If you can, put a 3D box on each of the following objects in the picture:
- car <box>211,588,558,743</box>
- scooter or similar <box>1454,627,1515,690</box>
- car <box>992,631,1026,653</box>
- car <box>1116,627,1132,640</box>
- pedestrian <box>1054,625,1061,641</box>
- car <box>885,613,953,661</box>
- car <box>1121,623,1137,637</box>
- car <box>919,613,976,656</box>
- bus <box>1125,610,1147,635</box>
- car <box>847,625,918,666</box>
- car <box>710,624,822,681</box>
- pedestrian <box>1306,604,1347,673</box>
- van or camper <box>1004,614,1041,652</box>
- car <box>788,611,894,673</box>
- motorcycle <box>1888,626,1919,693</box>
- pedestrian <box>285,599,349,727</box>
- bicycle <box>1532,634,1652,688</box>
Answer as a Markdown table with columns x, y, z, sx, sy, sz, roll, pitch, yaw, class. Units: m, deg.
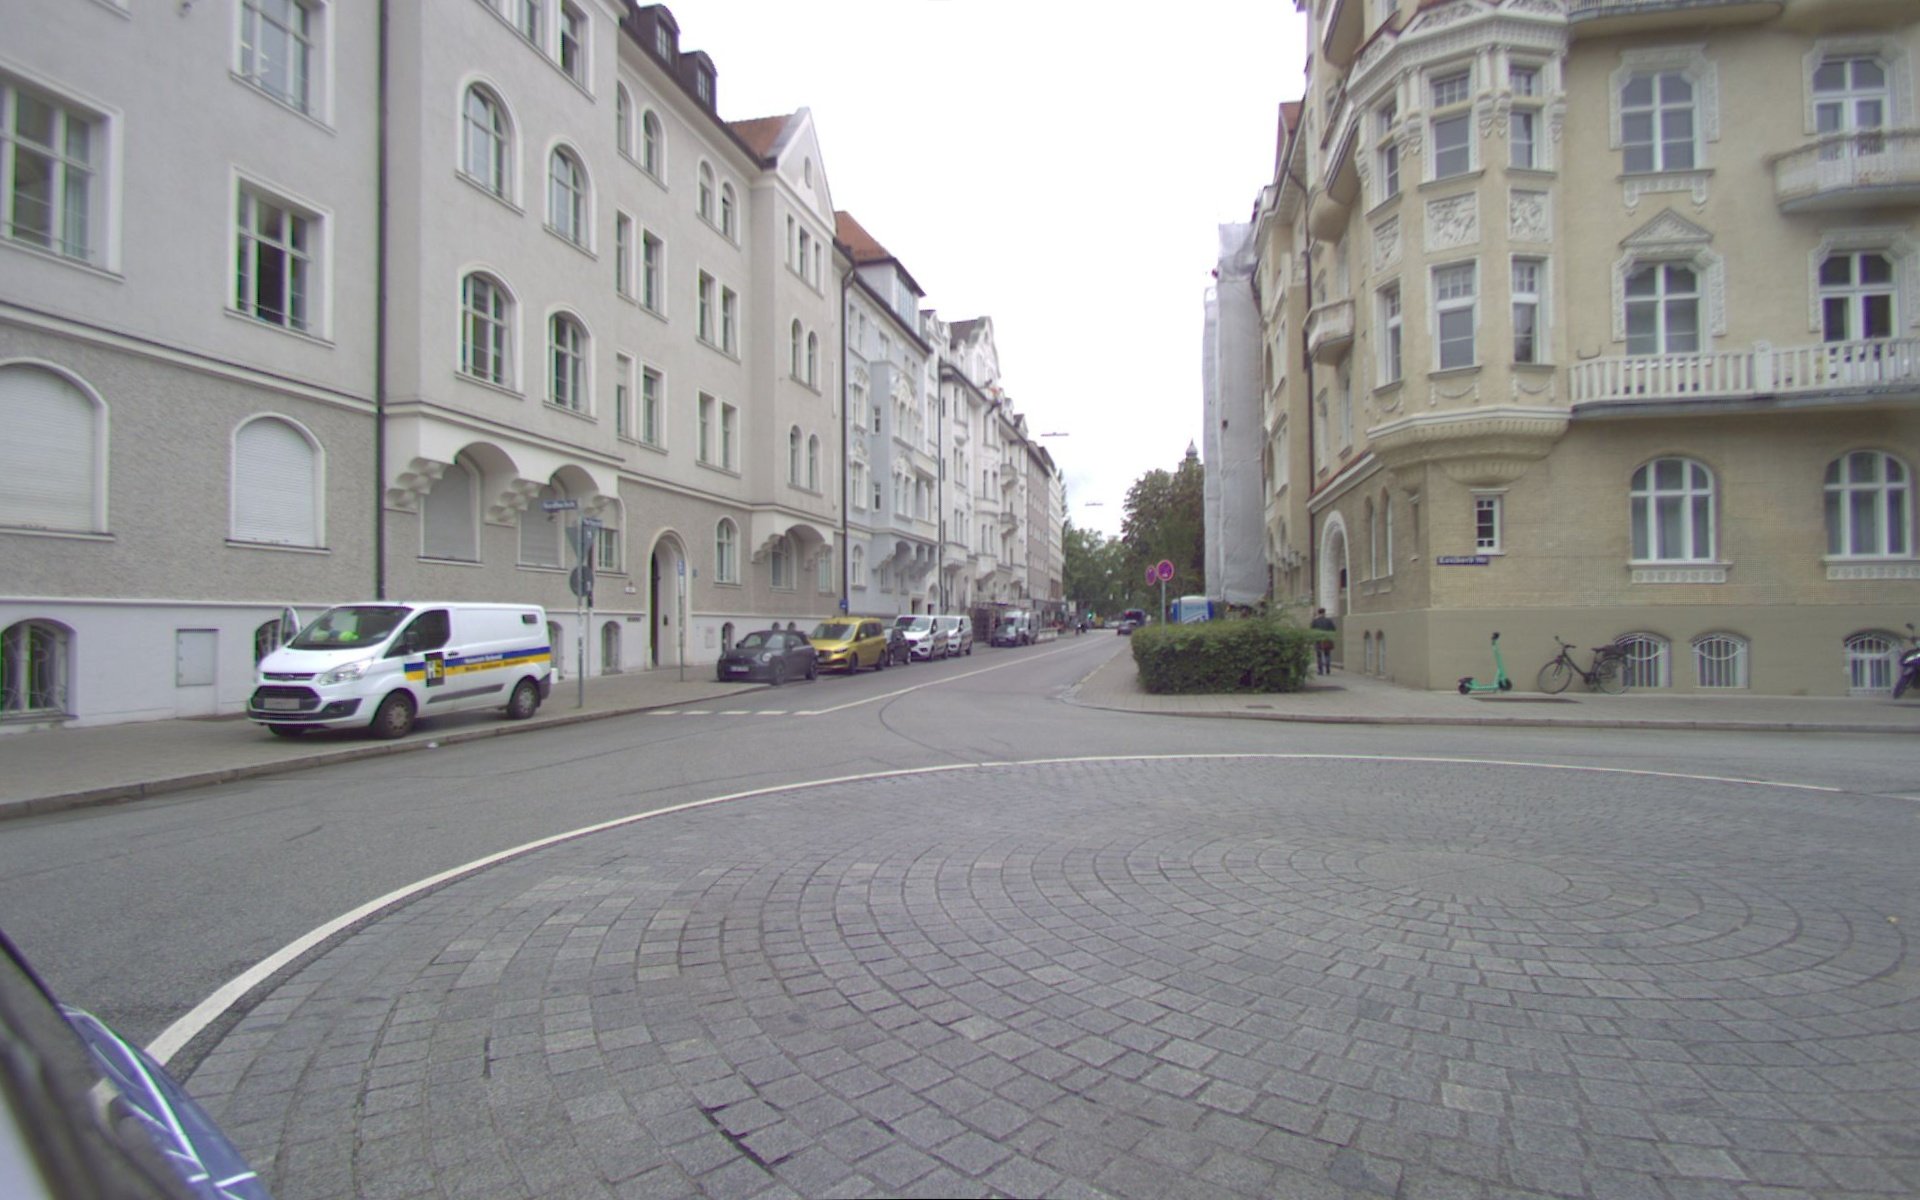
| x | y | z | sx | sy | sz | roll | pitch | yaw | class |
| --- | --- | --- | --- | --- | --- | --- | --- | --- | --- |
| -8.499 | 0.908 | 15.622 | 1.902 | 1.977 | 4.909 | 0 | -2 | 11 | car |
| 10.190 | 1.123 | 19.667 | 1.334 | 1.175 | 0.530 | 1 | -2 | -38 | scooter or similar |
| 3.314 | 2.815 | 68.277 | 1.740 | 1.445 | 4.073 | 0 | -2 | 11 | car |
| 18.645 | 3.808 | 114.970 | 1.573 | 1.490 | 3.768 | 0 | -2 | 11 | car |
| 11.210 | 3.793 | 116.106 | 0.697 | 1.746 | 0.743 | 0 | -2 | 12 | pedestrian |
| -1.734 | 1.600 | 44.259 | 1.944 | 1.952 | 4.976 | 0 | -2 | 10 | car |
| 20.210 | 3.626 | 120.839 | 1.755 | 1.657 | 4.258 | 0 | -2 | 11 | car |
| -0.564 | 1.701 | 50.264 | 1.944 | 2.029 | 4.976 | 0 | -2 | 10 | car |
| 23.359 | 2.990 | 134.003 | 2.561 | 3.124 | 8.887 | 0 | -2 | 12 | bus |
| -2.890 | 1.685 | 38.344 | 1.621 | 1.495 | 3.767 | -1 | -2 | 13 | car |
| -5.299 | 1.420 | 28.140 | 1.653 | 1.468 | 3.879 | -1 | -2 | 13 | car |
| 9.842 | 1.035 | 27.204 | 0.882 | 1.824 | 1.051 | -1 | -2 | 14 | pedestrian |
| 4.612 | 2.397 | 74.376 | 1.940 | 2.657 | 5.437 | -1 | -2 | 12 | van or camper |
| -3.817 | 1.354 | 33.359 | 1.839 | 1.867 | 4.797 | -1 | -2 | 15 | car |
| 18.311 | 1.056 | 17.946 | 2.536 | 1.189 | 1.003 | -1 | -2 | 11 | motorcycle |
| -9.797 | 0.944 | 15.426 | 0.592 | 1.902 | 0.667 | -2 | -3 | 42 | pedestrian |
| 12.216 | 1.172 | 19.603 | 1.863 | 1.030 | 0.558 | -1 | -2 | 12 | bicycle |
